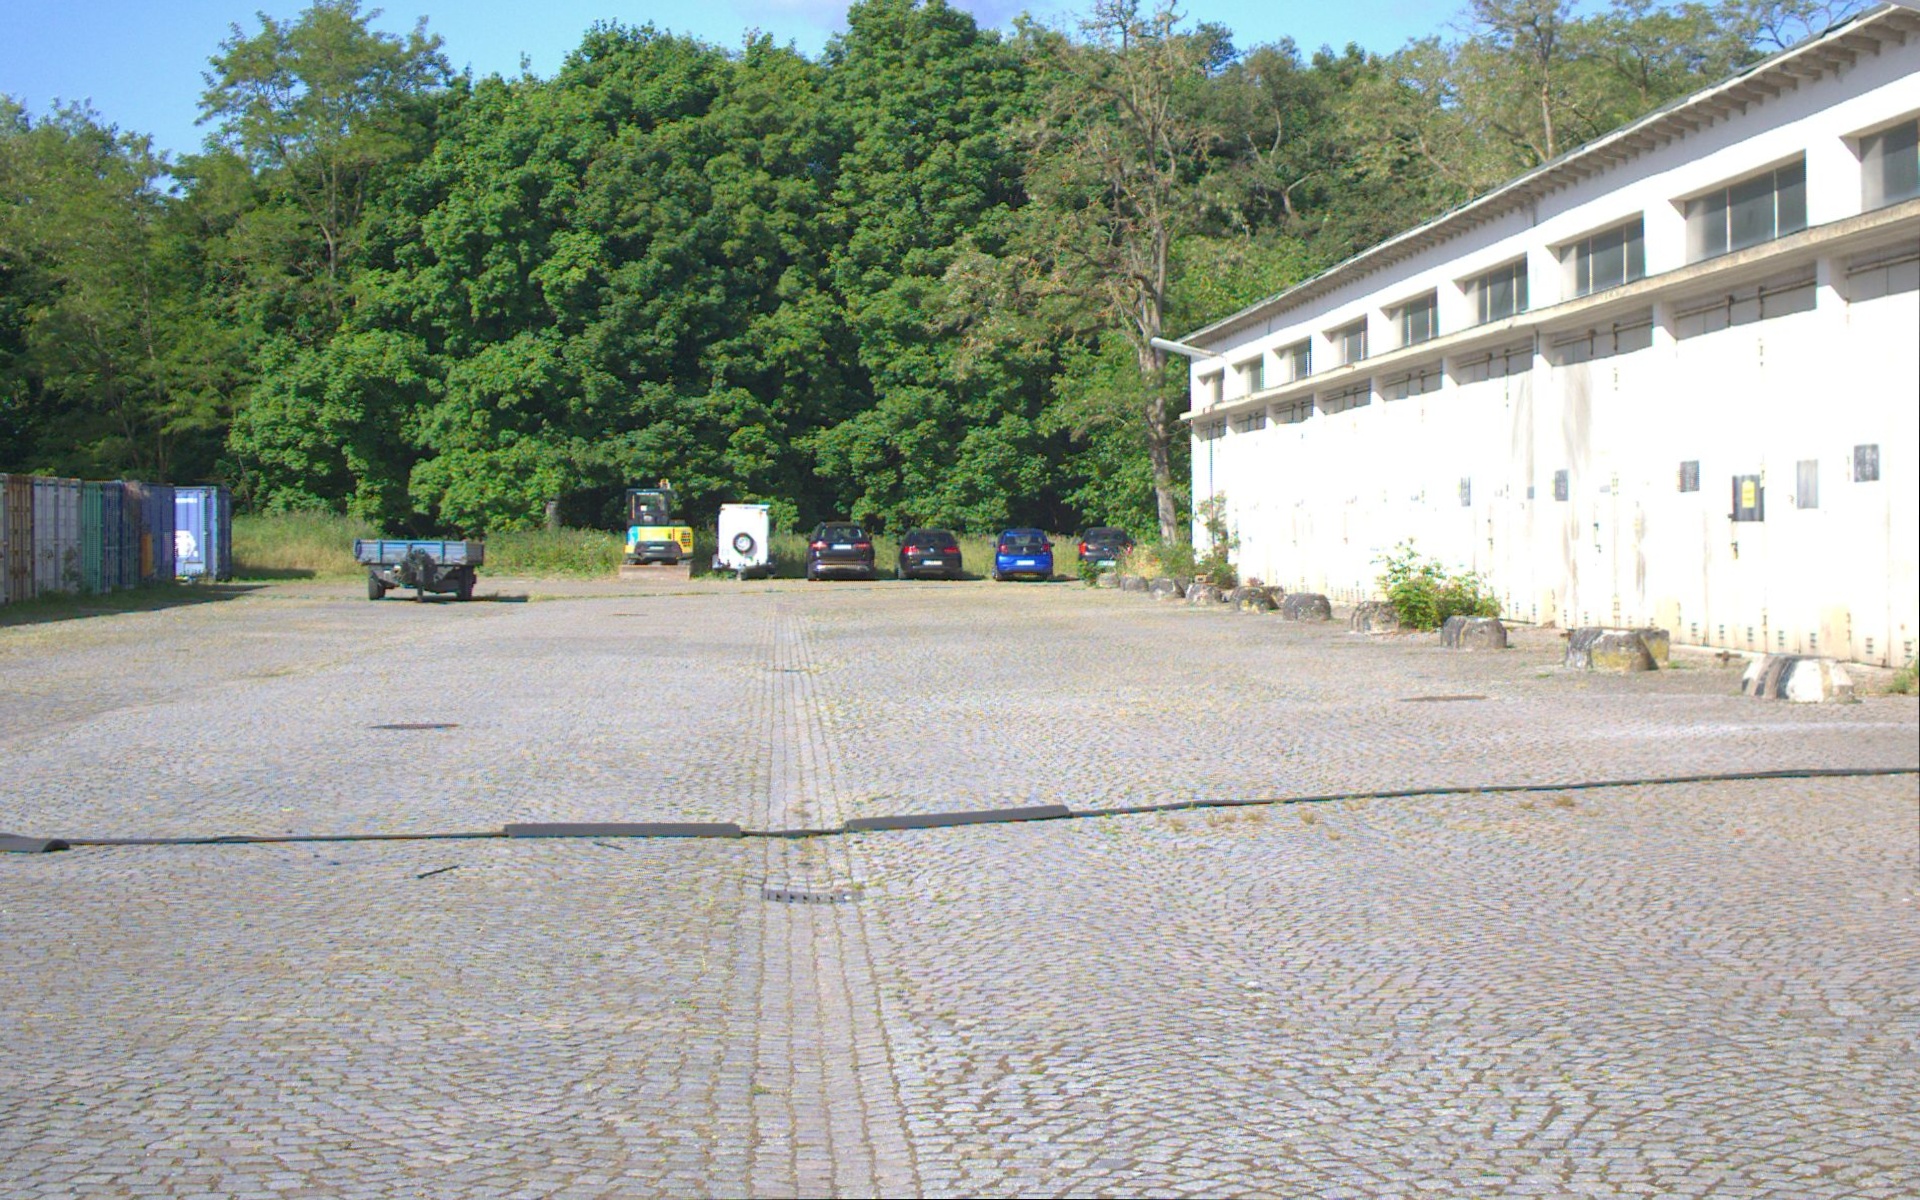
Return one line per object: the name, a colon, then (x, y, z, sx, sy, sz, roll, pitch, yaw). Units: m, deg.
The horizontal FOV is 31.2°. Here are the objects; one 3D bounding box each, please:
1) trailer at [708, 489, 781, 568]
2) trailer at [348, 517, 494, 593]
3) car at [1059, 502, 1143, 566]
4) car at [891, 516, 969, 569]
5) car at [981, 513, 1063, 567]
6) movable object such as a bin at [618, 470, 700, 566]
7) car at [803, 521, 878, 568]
trailer: (-6.104, -2.035, 97.508, 1.993, 2.155, 4.432, -1, 1, -3)
trailer: (-12.266, -1.058, 78.667, 2.791, 1.640, 5.622, -1, 1, -4)
car: (4.022, -1.899, 98.346, 1.993, 1.766, 4.001, -1, 1, -3)
car: (-0.860, -1.640, 96.894, 1.993, 1.419, 4.001, -1, 1, -3)
car: (1.730, -1.716, 96.999, 1.993, 1.461, 4.001, -1, 1, -3)
movable object such as a bin: (-8.609, -2.351, 98.146, 2.231, 2.648, 4.001, -1, 1, -5)
car: (-3.365, -1.570, 96.407, 1.993, 1.254, 4.001, -1, 1, -3)
